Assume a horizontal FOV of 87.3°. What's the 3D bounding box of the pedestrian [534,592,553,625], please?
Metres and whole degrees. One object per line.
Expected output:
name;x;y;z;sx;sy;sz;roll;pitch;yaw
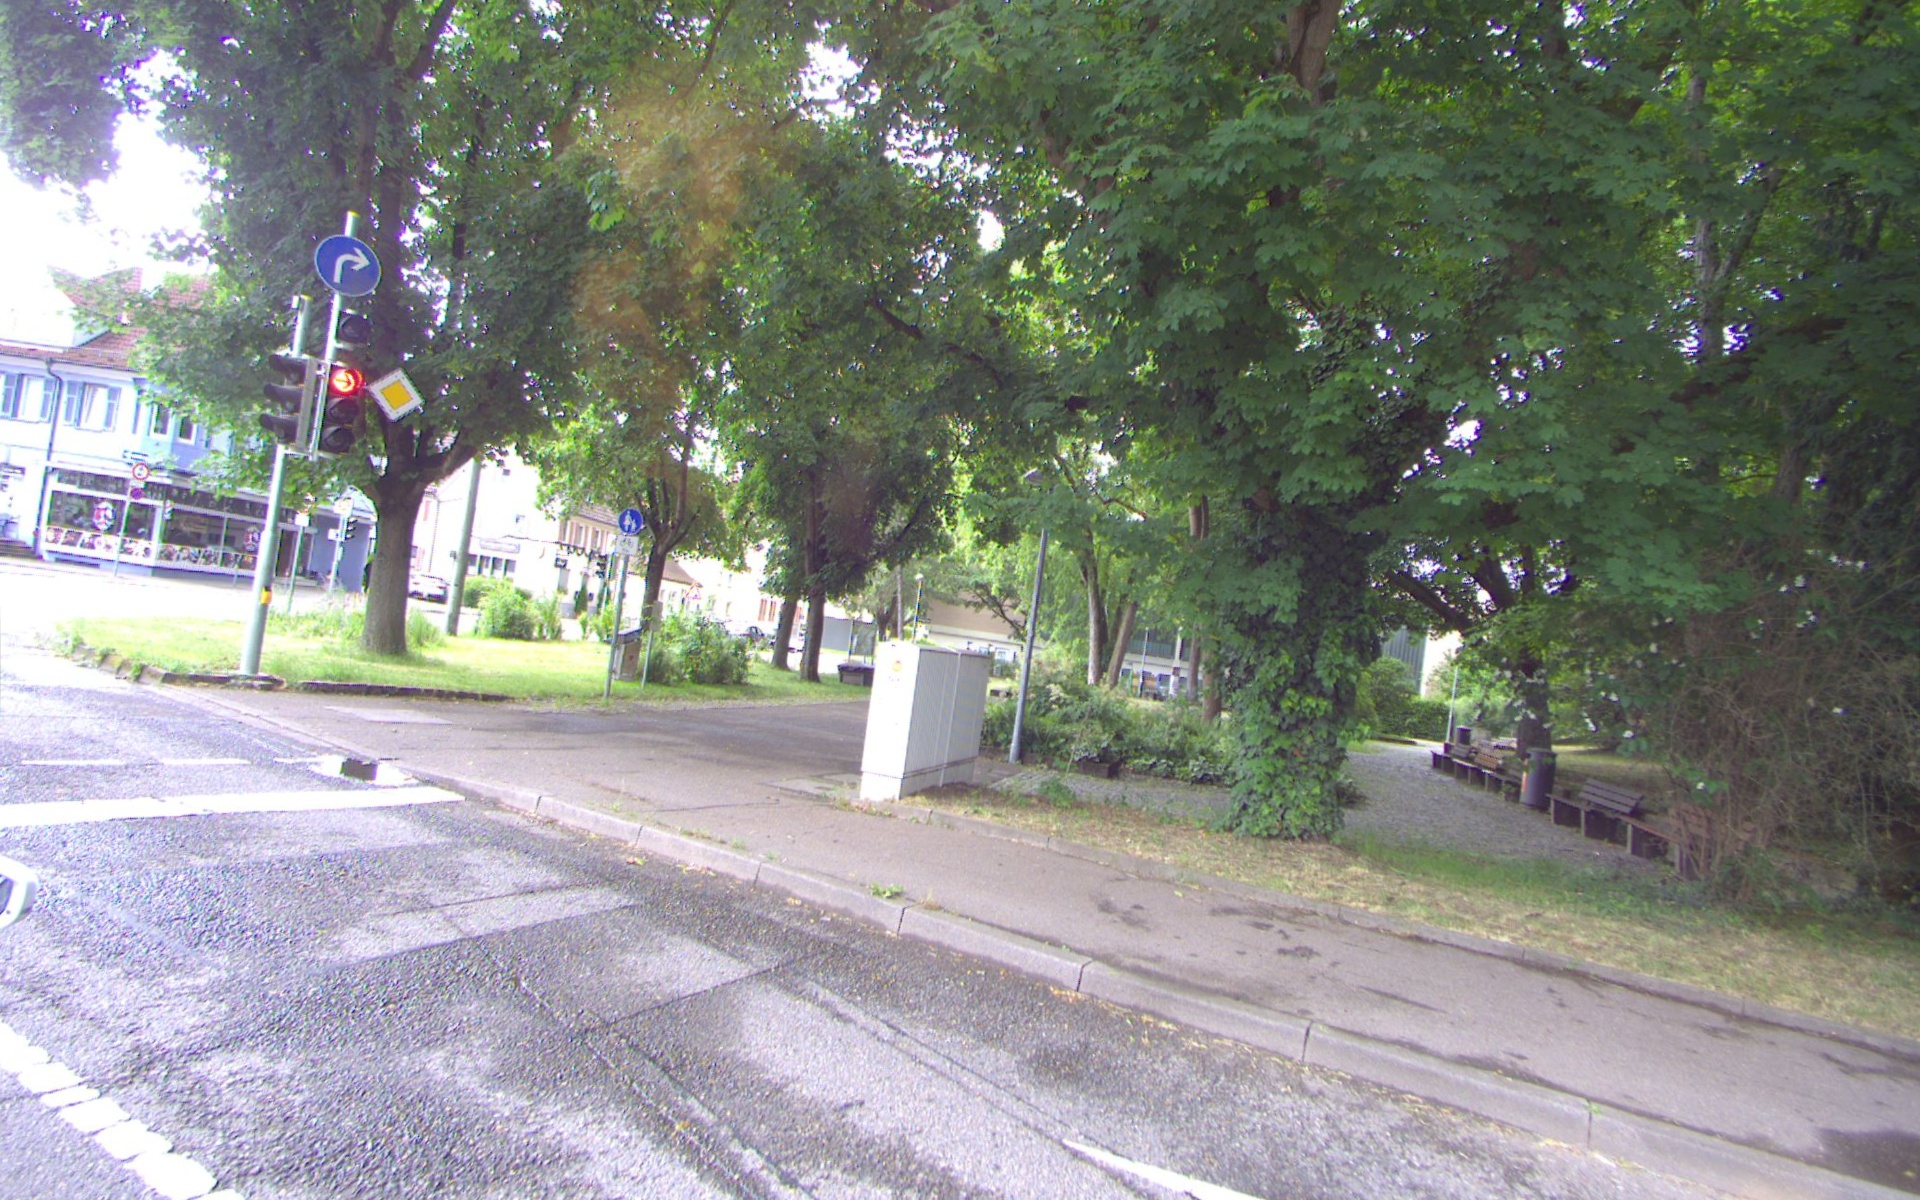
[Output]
pedestrian;-22.154;0.448;53.501;0.601;1.668;0.609;7;-1;-6

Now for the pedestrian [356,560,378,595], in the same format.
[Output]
pedestrian;-27.503;-1.038;46.679;0.576;1.535;0.460;7;-1;11

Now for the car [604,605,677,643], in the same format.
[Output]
car;-14.014;1.086;44.359;1.530;1.336;3.514;7;-2;9

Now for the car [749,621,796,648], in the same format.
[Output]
car;-11.171;2.066;60.108;1.530;1.336;3.514;7;-2;8

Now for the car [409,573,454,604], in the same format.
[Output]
car;-27.874;-0.607;53.146;1.479;1.384;3.166;8;-2;-19

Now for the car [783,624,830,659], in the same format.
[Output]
car;-10.060;2.753;66.177;1.750;2.037;4.005;7;-2;7

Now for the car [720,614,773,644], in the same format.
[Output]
car;-11.572;1.592;54.823;1.530;1.336;3.514;7;-2;9

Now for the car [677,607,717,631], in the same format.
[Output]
car;-19.374;1.437;74.251;1.528;1.436;4.005;7;-2;4
